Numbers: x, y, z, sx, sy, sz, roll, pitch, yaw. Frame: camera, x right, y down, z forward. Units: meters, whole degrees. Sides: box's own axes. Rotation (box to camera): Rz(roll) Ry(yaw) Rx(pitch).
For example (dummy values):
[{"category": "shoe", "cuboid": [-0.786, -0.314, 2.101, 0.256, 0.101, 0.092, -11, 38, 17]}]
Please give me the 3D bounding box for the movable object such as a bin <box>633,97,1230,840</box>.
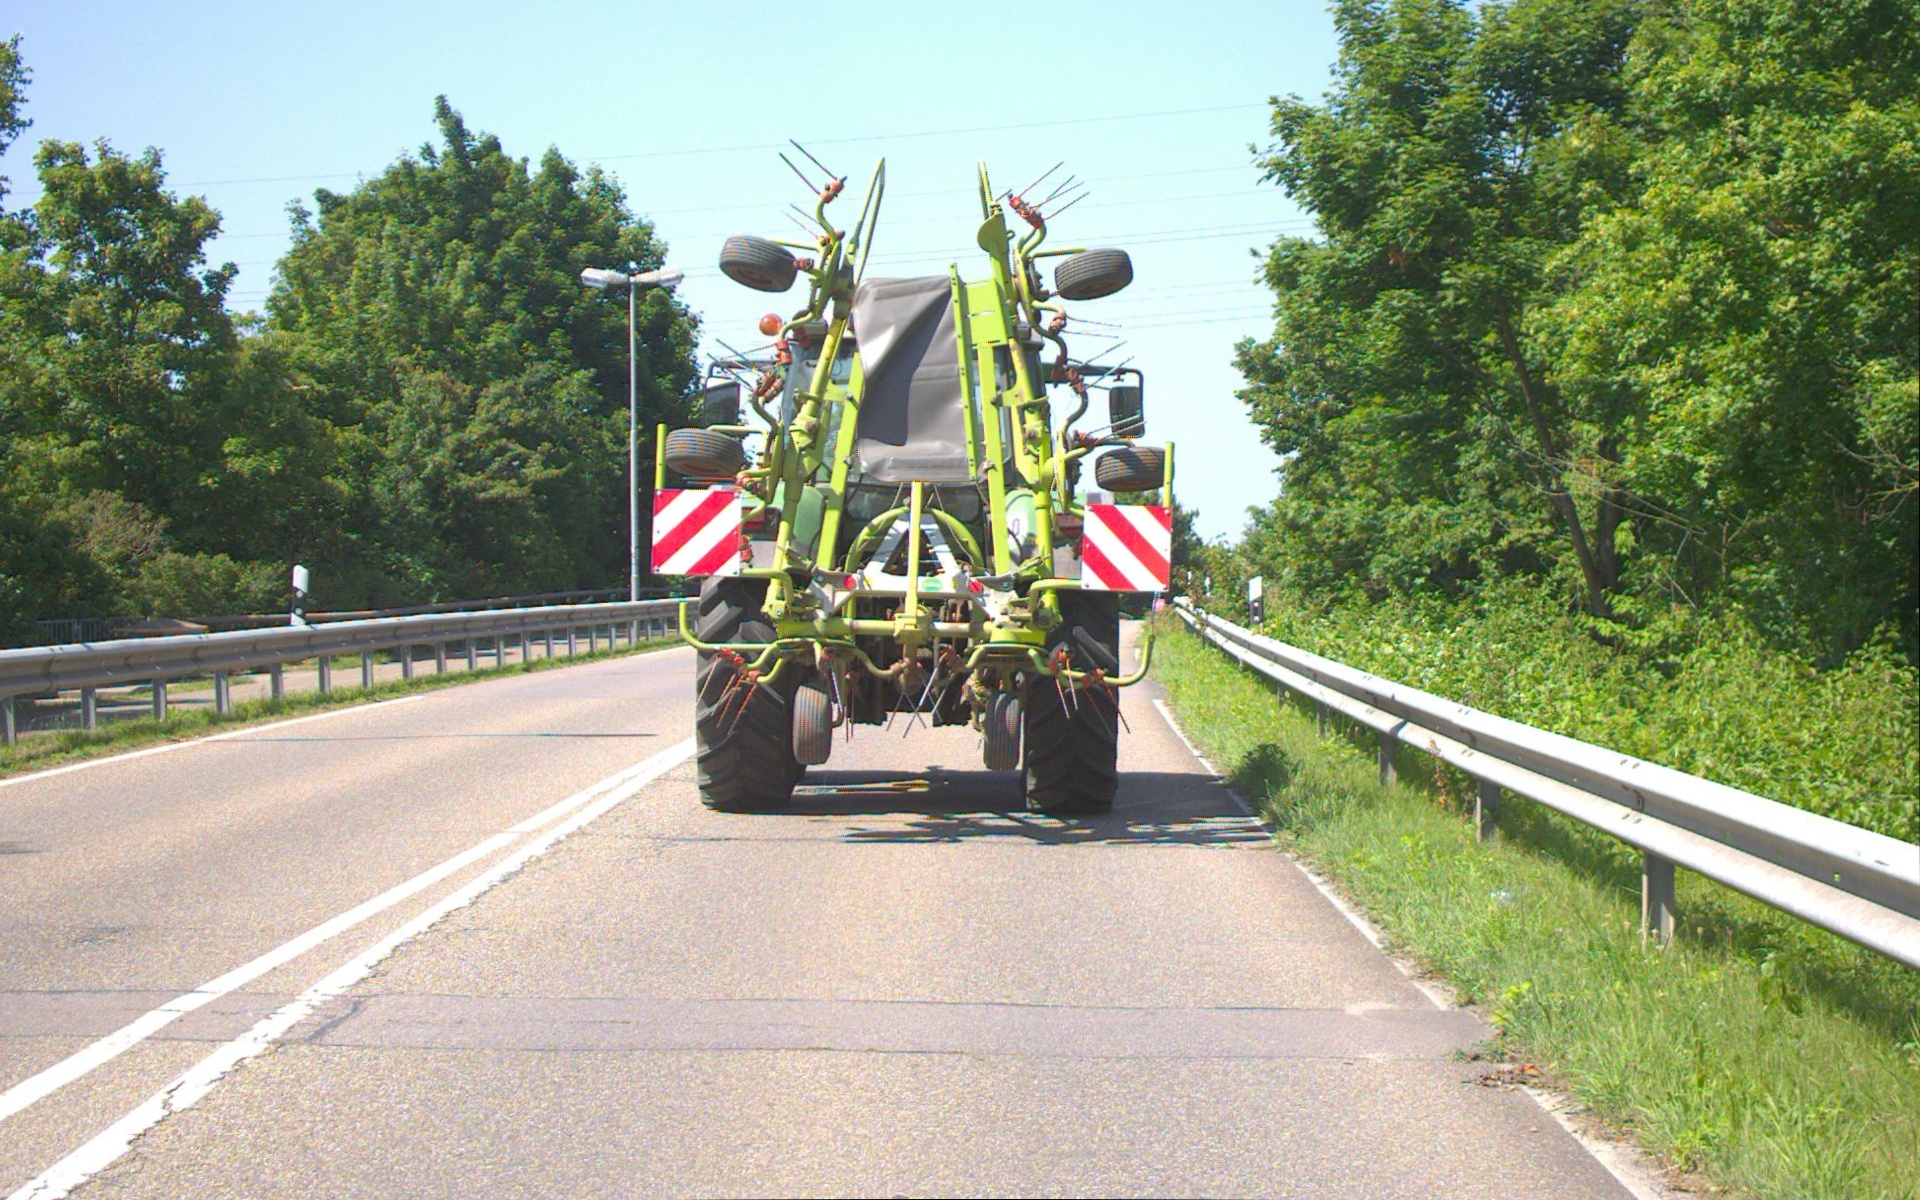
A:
[{"category": "movable object such as a bin", "cuboid": [-0.211, -0.682, 18.798, 2.755, 3.432, 5.671, 0, 2, -2]}]
